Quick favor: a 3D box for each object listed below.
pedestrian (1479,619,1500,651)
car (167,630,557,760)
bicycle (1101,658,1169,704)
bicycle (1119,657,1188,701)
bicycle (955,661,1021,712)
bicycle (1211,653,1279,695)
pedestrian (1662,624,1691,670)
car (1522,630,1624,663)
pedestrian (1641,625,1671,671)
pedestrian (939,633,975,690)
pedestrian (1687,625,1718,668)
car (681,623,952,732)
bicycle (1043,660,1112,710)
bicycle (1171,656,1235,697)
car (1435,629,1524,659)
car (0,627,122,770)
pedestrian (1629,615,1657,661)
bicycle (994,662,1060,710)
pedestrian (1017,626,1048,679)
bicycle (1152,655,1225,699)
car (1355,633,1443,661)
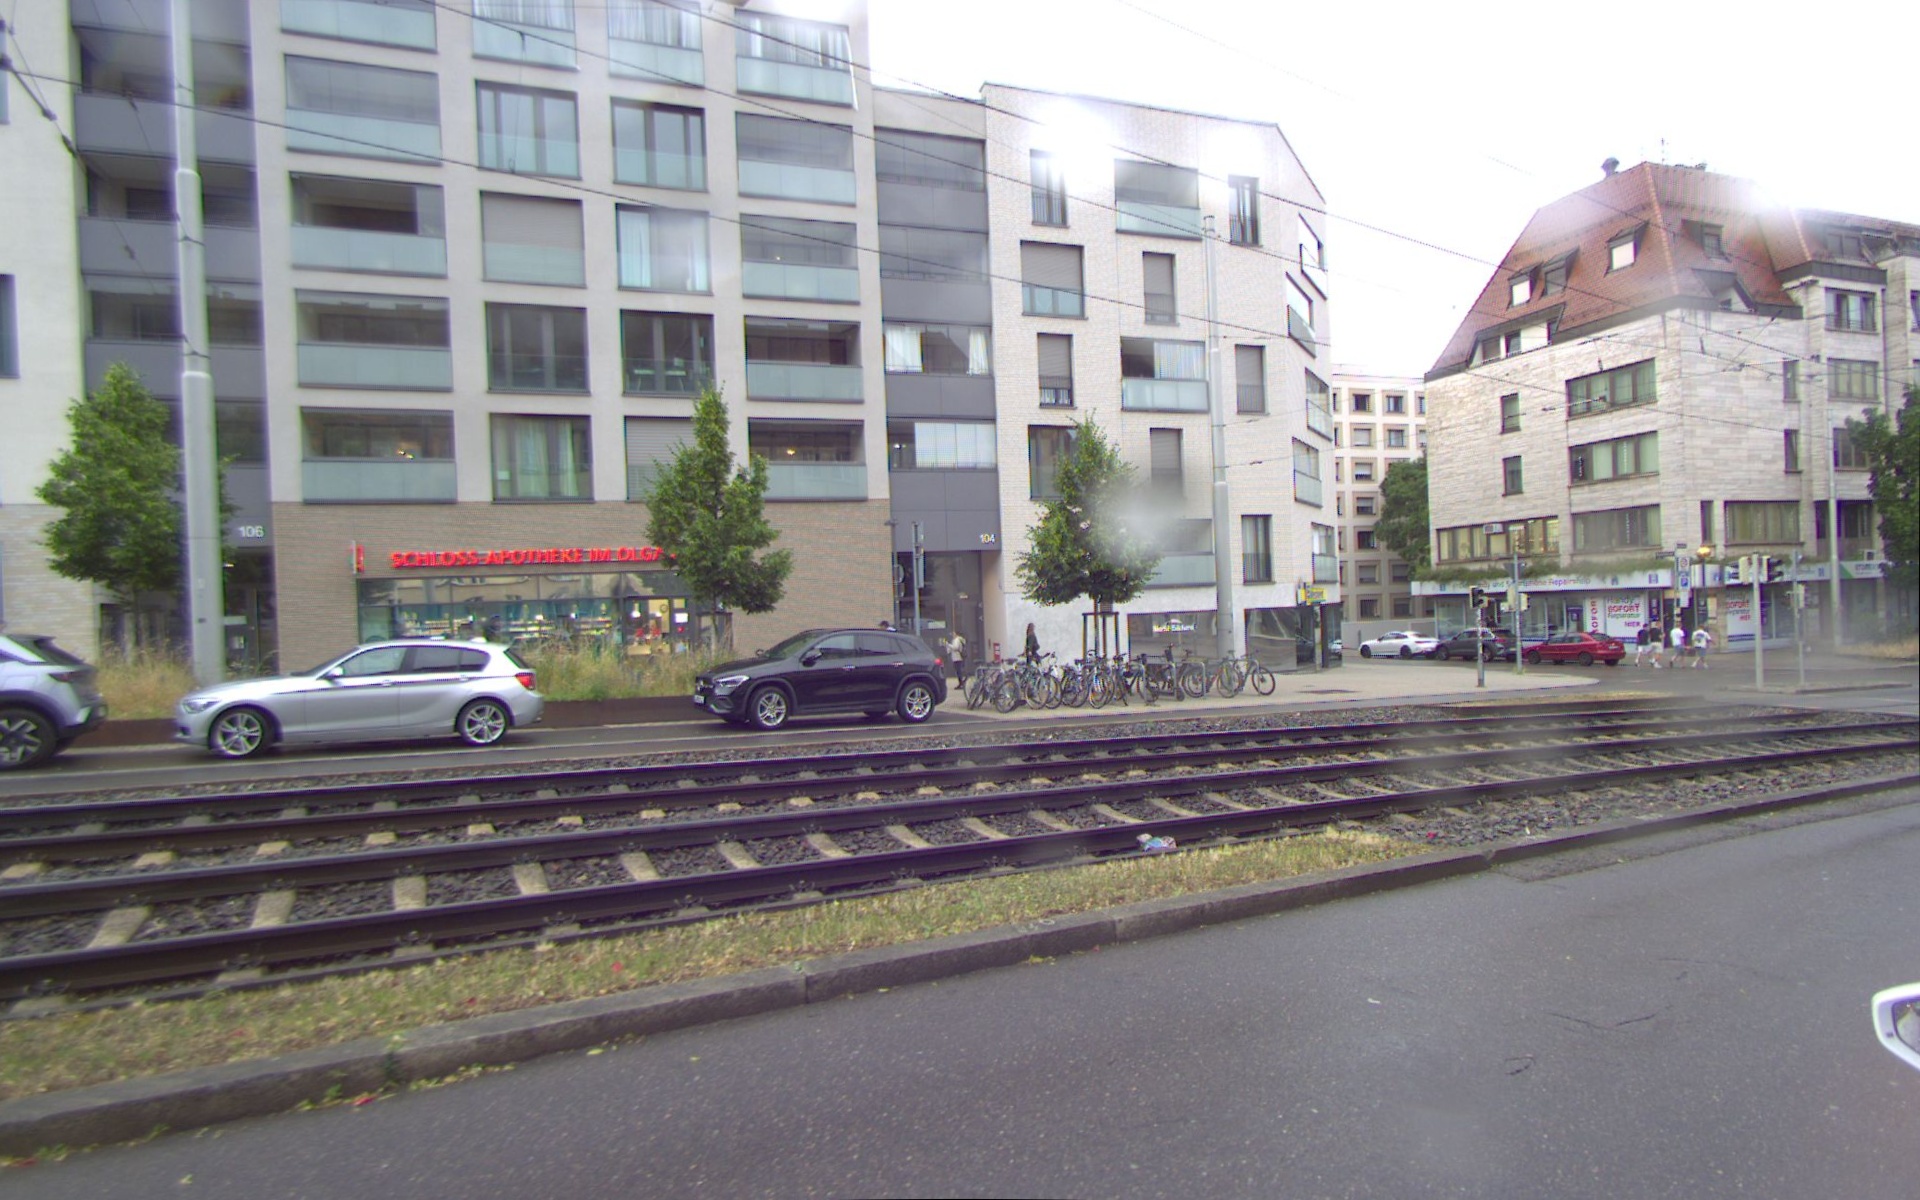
[{"bbox_3d":[27.138,1.785,51.486,0.640,1.569,0.680,1,0,-21],"label":"pedestrian"},{"bbox_3d":[-7.893,1.183,13.635,4.280,1.484,1.671,1,-1,-31],"label":"car"},{"bbox_3d":[3.930,1.817,22.679,0.383,0.930,1.773,1,-2,-34],"label":"bicycle"},{"bbox_3d":[4.485,1.819,23.399,0.384,0.930,1.770,1,-1,-38],"label":"bicycle"},{"bbox_3d":[0.548,1.737,20.485,0.383,0.930,1.773,1,-1,-34],"label":"bicycle"},{"bbox_3d":[7.095,1.830,25.075,0.436,0.993,1.773,1,-2,-34],"label":"bicycle"},{"bbox_3d":[27.803,1.821,38.981,0.674,1.747,0.646,1,0,-22],"label":"pedestrian"},{"bbox_3d":[26.270,1.989,43.200,1.567,1.335,3.694,1,-2,-16],"label":"car"},{"bbox_3d":[27.587,1.904,39.811,0.674,1.772,0.646,1,0,-22],"label":"pedestrian"},{"bbox_3d":[-0.078,1.647,26.922,0.790,1.468,0.539,1,0,-18],"label":"pedestrian"},{"bbox_3d":[28.082,1.758,38.013,0.674,1.569,0.646,1,0,-22],"label":"pedestrian"},{"bbox_3d":[-2.393,1.248,17.171,4.280,1.625,1.671,1,-1,-31],"label":"car"},{"bbox_3d":[2.464,1.771,21.181,0.383,0.930,1.772,1,-1,-34],"label":"bicycle"},{"bbox_3d":[5.959,1.865,24.684,0.383,0.888,1.774,1,0,-31],"label":"bicycle"},{"bbox_3d":[24.607,2.077,47.740,1.570,1.335,3.689,1,-2,-20],"label":"car"},{"bbox_3d":[-12.018,1.087,11.142,4.010,1.550,1.669,2,-1,-35],"label":"car"},{"bbox_3d":[28.163,1.572,41.419,0.674,1.867,0.646,1,0,-22],"label":"pedestrian"},{"bbox_3d":[1.372,1.777,20.945,0.383,0.930,1.773,1,-3,-34],"label":"bicycle"},{"bbox_3d":[2.216,1.590,30.724,0.637,1.590,0.775,0,-1,33],"label":"pedestrian"},{"bbox_3d":[5.469,1.832,24.135,1.764,0.930,0.385,1,0,44],"label":"bicycle"},{"bbox_3d":[22.821,2.435,52.427,1.570,1.335,4.482,1,-2,-20],"label":"car"}]
